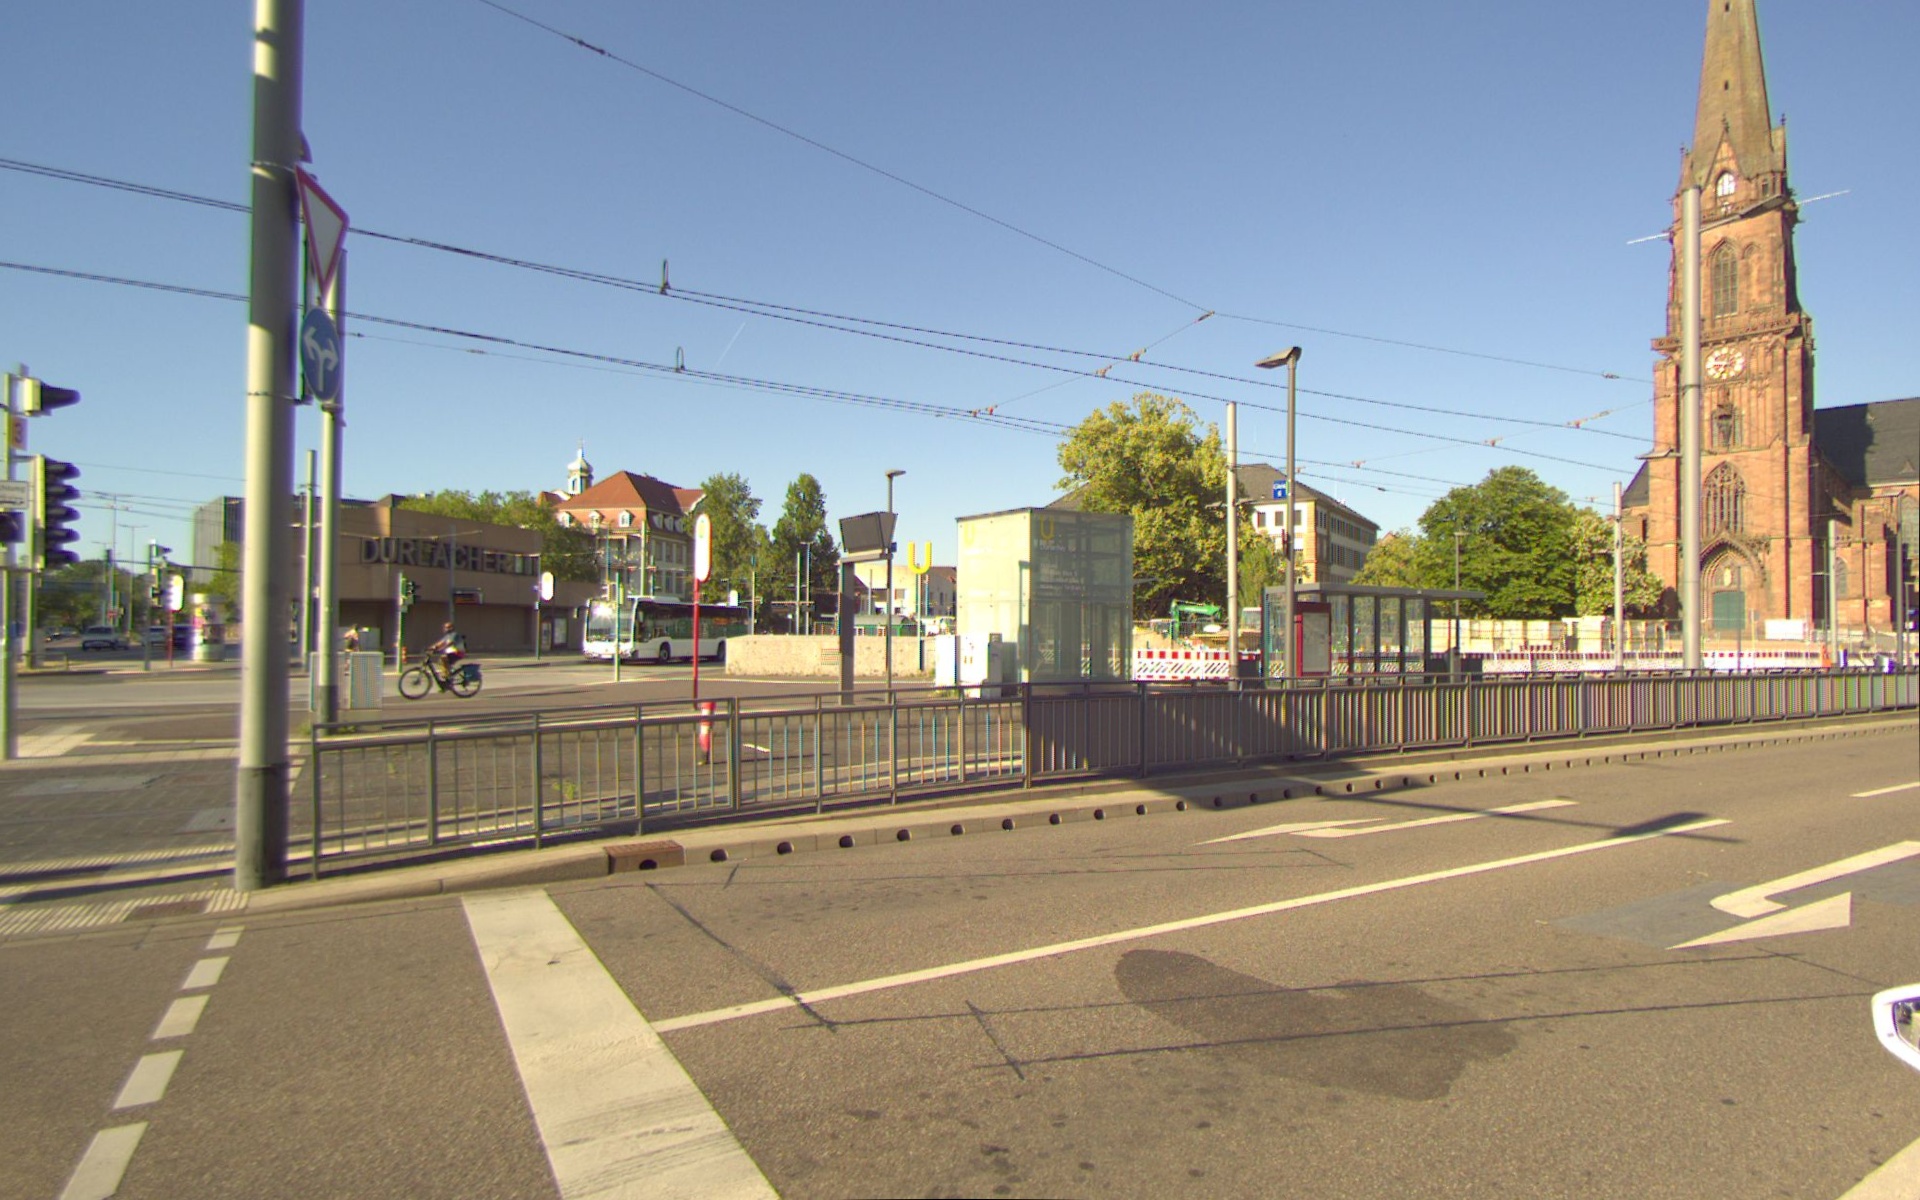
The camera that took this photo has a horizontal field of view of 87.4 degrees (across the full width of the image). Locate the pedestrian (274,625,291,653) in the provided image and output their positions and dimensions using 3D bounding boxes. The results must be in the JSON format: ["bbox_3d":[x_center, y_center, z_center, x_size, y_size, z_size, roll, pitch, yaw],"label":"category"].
[{"bbox_3d":[-39.736,2.274,58.924,0.796,1.588,1.169,-2,-1,-34],"label":"pedestrian"}]

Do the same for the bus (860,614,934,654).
[{"bbox_3d":[-5.455,2.911,90.076,3.186,3.236,12.669,-3,-1,12],"label":"bus"}]

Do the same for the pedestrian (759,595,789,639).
[{"bbox_3d":[-7.570,0.697,40.923,1.036,1.708,0.728,-2,-1,-3],"label":"pedestrian"}]

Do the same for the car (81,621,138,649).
[{"bbox_3d":[-53.475,2.204,63.220,1.698,1.652,3.848,-1,-1,-24],"label":"car"}]

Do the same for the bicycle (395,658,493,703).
[{"bbox_3d":[-12.180,1.887,23.739,1.981,0.954,0.808,1,-1,-34],"label":"bicycle"}]

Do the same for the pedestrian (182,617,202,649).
[{"bbox_3d":[-44.068,1.919,57.638,0.796,1.792,0.964,-2,-1,-35],"label":"pedestrian"}]

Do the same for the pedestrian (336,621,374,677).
[{"bbox_3d":[-19.299,1.559,32.034,1.041,1.708,0.724,-3,-1,42],"label":"pedestrian"}]

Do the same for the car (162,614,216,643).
[{"bbox_3d":[-49.893,1.867,65.074,1.842,1.651,4.010,6,-5,-26],"label":"car"}]

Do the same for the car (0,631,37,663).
[{"bbox_3d":[-46.020,2.215,47.916,1.824,1.442,4.400,1,-2,-28],"label":"car"}]

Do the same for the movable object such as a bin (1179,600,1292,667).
[{"bbox_3d":[11.686,1.372,42.373,2.596,2.559,5.144,-3,-2,40],"label":"movable object such as a bin"}]

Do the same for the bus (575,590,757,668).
[{"bbox_3d":[-13.869,1.355,49.205,2.784,3.236,12.669,-3,-1,12],"label":"bus"}]

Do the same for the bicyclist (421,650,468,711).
[{"bbox_3d":[-12.176,1.887,23.736,0.893,1.362,0.808,1,-1,-34],"label":"bicyclist"}]

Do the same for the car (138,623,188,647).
[{"bbox_3d":[-59.490,2.604,75.034,1.833,1.651,3.850,5,-3,-22],"label":"car"}]

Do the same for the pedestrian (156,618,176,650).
[{"bbox_3d":[-45.032,1.942,56.970,0.796,1.792,0.954,-2,-1,-35],"label":"pedestrian"}]
